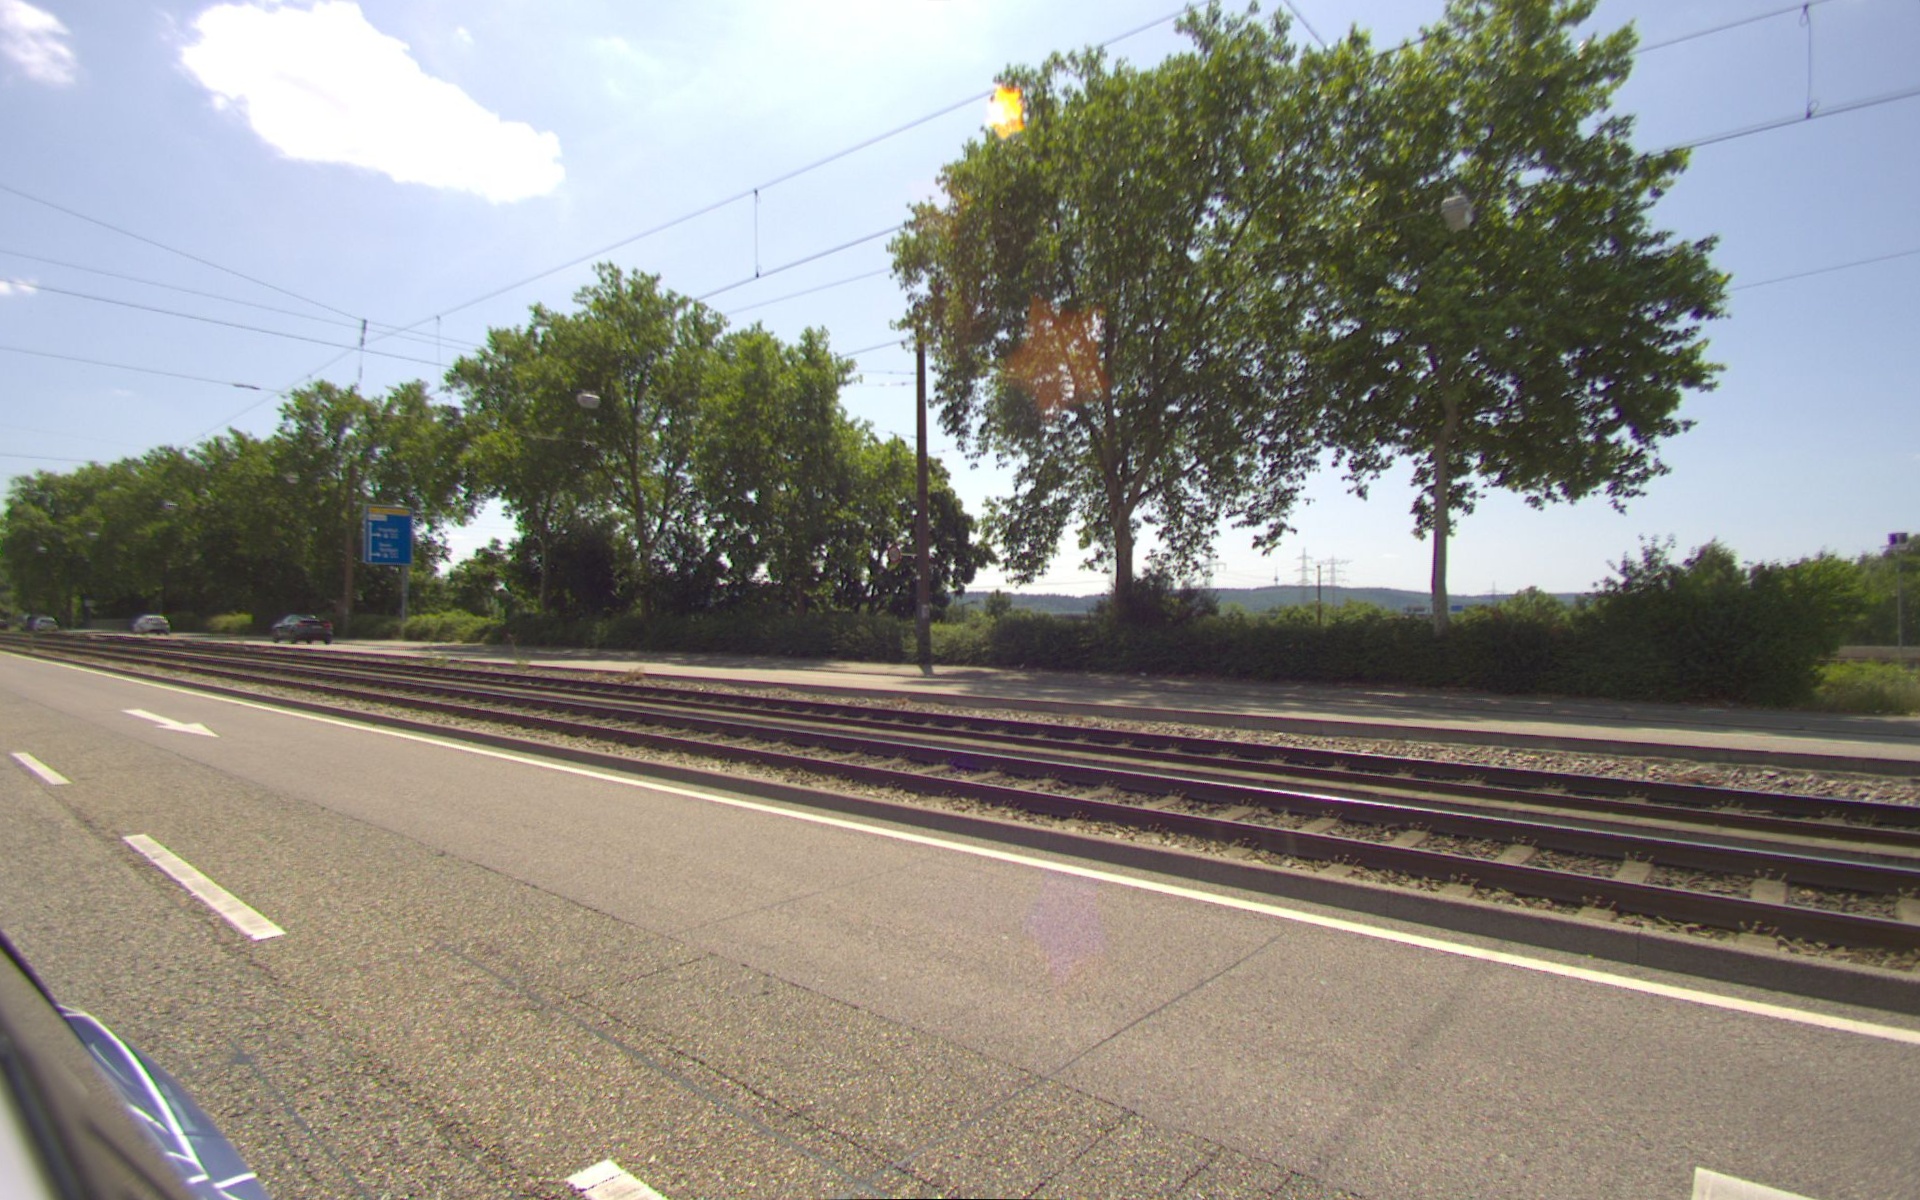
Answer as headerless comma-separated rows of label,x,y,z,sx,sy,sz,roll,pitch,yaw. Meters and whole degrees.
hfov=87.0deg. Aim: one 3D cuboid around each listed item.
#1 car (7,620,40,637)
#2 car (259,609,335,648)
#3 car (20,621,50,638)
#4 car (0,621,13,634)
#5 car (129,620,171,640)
car,-104.268,3.162,112.695,4.965,1.844,1.973,-1,-4,40
car,-34.658,1.472,52.898,4.403,1.932,1.975,-1,0,37
car,-93.668,3.012,102.444,4.055,1.596,1.668,-1,-4,40
car,-127.972,3.617,134.790,4.462,1.683,1.974,-1,-3,38
car,-61.177,2.249,76.409,3.882,1.426,1.803,-1,-4,42
